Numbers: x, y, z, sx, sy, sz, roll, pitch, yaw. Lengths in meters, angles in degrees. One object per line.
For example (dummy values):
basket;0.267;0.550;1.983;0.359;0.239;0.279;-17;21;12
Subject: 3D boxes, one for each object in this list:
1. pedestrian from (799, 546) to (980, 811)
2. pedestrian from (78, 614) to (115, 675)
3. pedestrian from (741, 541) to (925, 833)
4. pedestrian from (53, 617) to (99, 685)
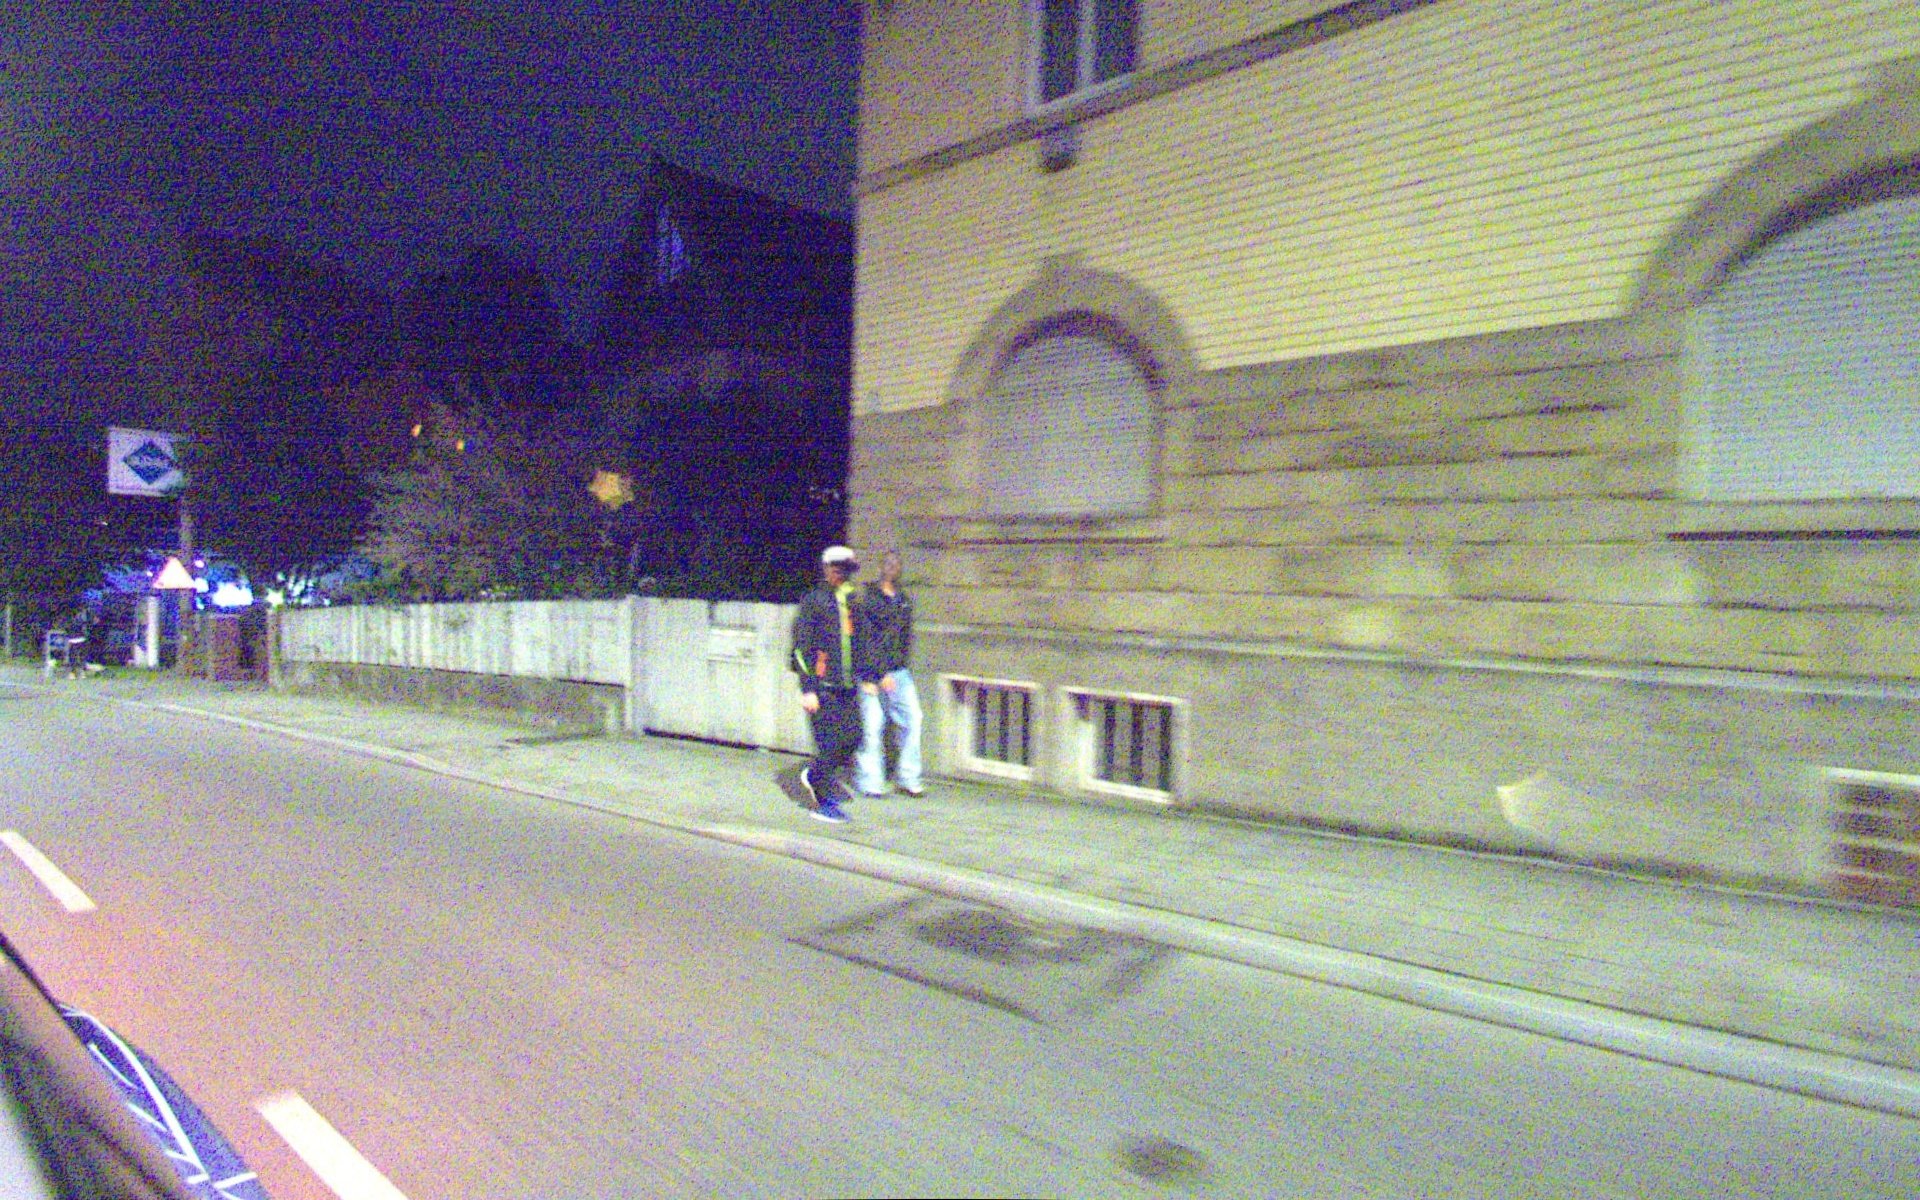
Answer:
pedestrian;-0.517;0.527;7.352;1.102;1.758;0.734;-1;-1;40
pedestrian;-25.194;1.287;29.536;0.865;1.739;0.662;-2;-1;38
pedestrian;-0.844;0.528;6.672;1.028;1.758;0.668;-1;-1;40
pedestrian;-22.741;1.287;26.034;1.102;1.684;0.734;-1;-1;40
